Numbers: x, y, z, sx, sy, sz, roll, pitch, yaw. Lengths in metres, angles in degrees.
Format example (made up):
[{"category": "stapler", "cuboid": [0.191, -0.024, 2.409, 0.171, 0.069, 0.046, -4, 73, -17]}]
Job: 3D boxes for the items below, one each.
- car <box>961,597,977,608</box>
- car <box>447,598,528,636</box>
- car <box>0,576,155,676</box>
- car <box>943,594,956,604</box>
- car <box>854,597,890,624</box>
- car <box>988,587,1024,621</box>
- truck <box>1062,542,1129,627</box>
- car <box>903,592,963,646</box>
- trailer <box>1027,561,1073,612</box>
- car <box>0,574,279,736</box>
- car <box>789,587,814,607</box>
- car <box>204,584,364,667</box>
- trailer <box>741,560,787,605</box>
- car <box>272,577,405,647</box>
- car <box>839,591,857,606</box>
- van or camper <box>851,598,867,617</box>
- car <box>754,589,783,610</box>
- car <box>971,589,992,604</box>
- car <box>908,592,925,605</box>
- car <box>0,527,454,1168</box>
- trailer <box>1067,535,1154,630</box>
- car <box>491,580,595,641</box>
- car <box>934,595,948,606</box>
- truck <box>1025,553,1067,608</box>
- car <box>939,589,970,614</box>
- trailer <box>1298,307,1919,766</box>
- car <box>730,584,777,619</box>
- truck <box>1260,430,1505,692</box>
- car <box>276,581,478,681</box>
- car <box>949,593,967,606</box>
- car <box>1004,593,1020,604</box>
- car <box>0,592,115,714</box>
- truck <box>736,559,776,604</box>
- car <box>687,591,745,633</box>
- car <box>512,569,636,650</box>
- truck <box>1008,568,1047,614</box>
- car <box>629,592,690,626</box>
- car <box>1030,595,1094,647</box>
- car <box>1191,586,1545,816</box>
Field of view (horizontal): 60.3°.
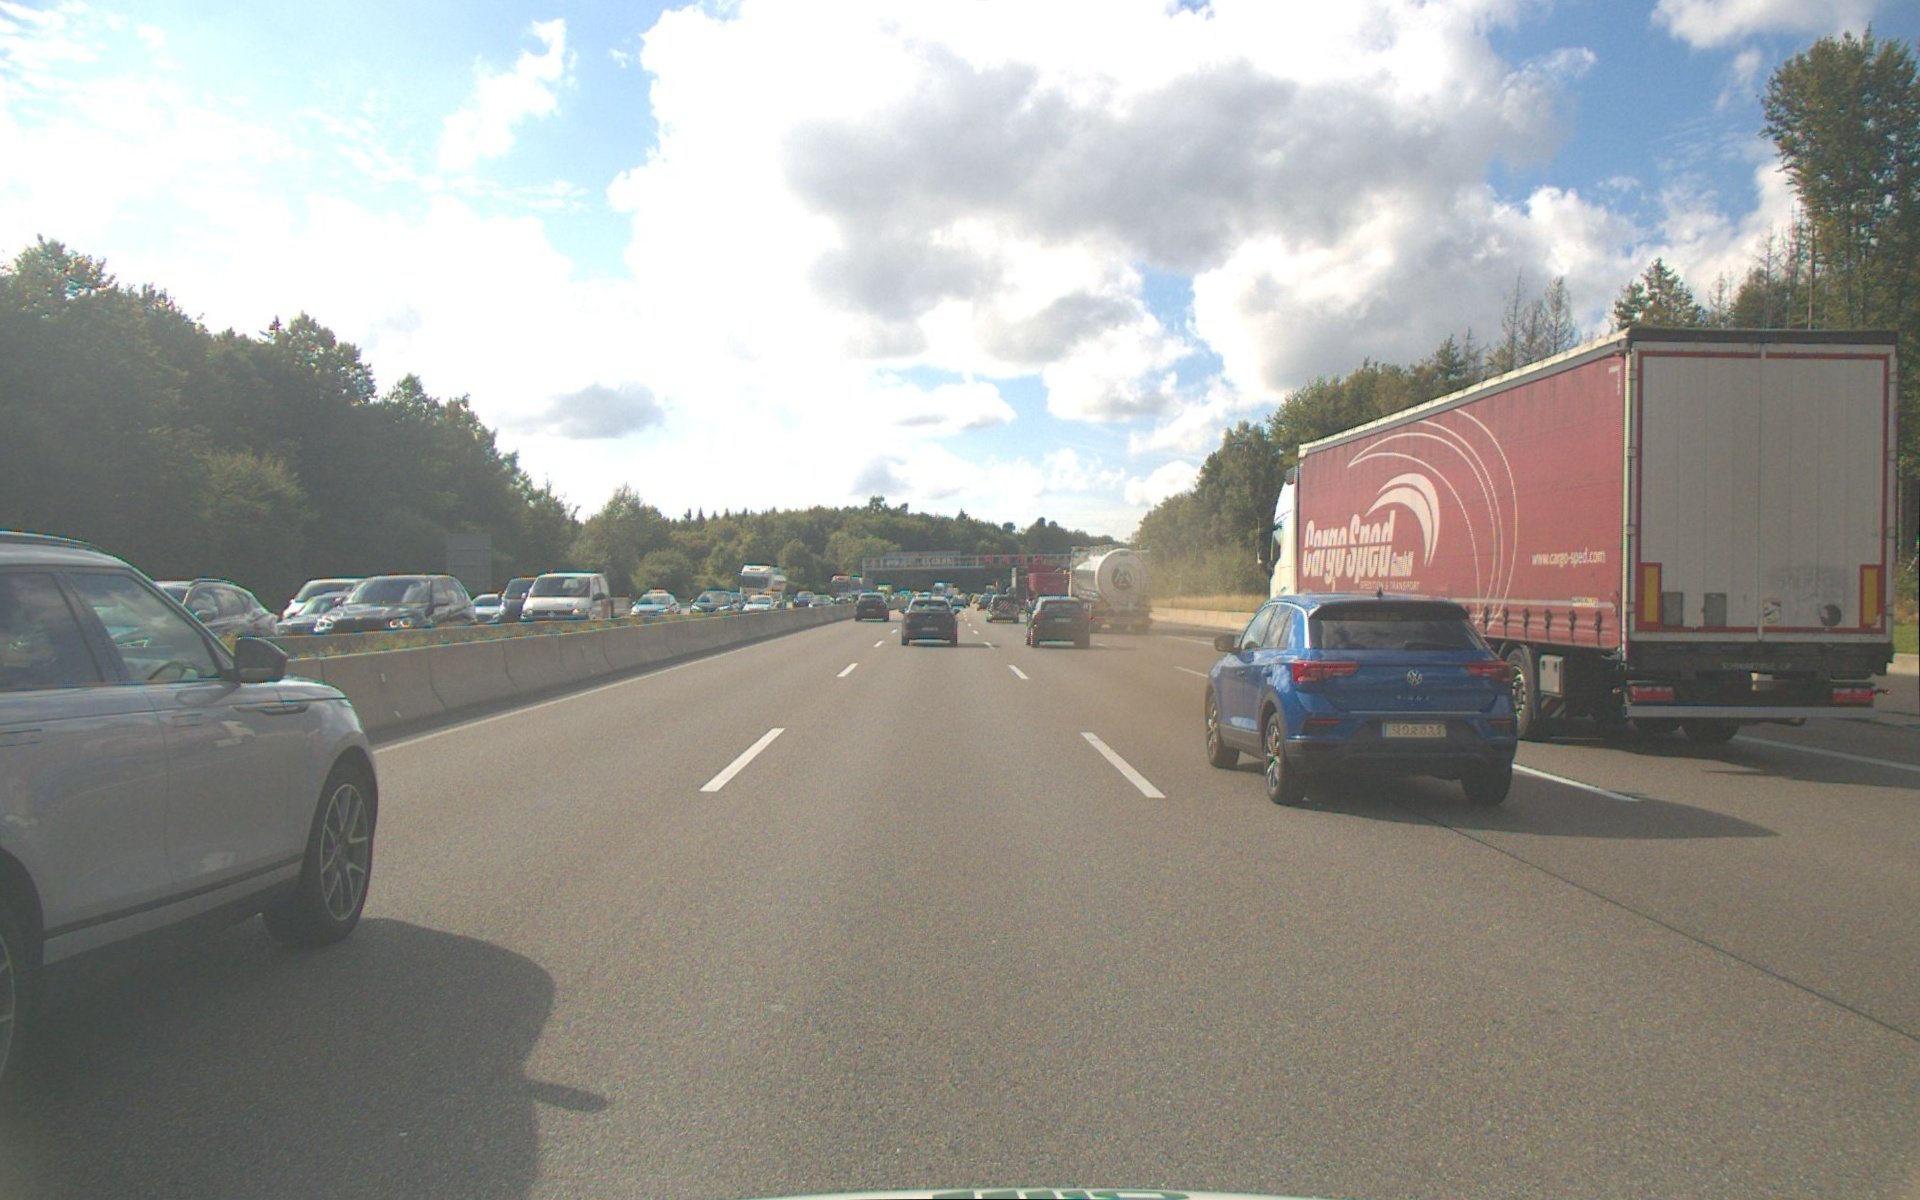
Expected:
[{"category": "car", "cuboid": [1.193, 0.348, 222.774, 2.035, 1.483, 3.999, -1, 0, -2]}, {"category": "car", "cuboid": [-17.984, 0.631, 63.141, 1.827, 1.325, 4.549, -1, 0, -1]}, {"category": "car", "cuboid": [-17.895, 0.475, 32.658, 1.809, 1.831, 4.549, -1, 0, -1]}, {"category": "car", "cuboid": [-1.610, -0.197, 255.853, 1.890, 1.483, 3.963, -1, 0, -2]}, {"category": "car", "cuboid": [-5.021, 0.597, 94.593, 1.903, 1.483, 3.999, -1, 0, -2]}, {"category": "car", "cuboid": [2.582, 0.226, 94.512, 1.855, 1.889, 4.099, 1, 0, -1]}, {"category": "truck", "cuboid": [6.421, -0.713, 78.986, 2.595, 3.890, 6.081, 0, 0, -1]}, {"category": "car", "cuboid": [-0.813, 0.555, 50.906, 1.785, 1.573, 3.999, 0, 0, -1]}, {"category": "trailer", "cuboid": [6.140, -0.989, 114.119, 2.654, 3.287, 9.733, 1, 1, 0]}, {"category": "car", "cuboid": [-9.813, 0.558, 19.203, 1.953, 1.646, 4.549, -1, 0, -1]}, {"category": "car", "cuboid": [-14.323, -0.311, 149.616, 1.817, 1.699, 5.210, -2, 1, 0]}, {"category": "car", "cuboid": [-14.526, 0.504, 35.797, 1.634, 1.646, 4.549, -1, 0, -1]}, {"category": "trailer", "cuboid": [-18.249, -1.615, 154.839, 2.730, 4.014, 12.253, 0, 0, 0]}, {"category": "car", "cuboid": [-18.036, 0.312, 48.291, 1.910, 1.884, 5.341, -1, 0, -1]}, {"category": "car", "cuboid": [-13.422, -0.163, 198.570, 1.953, 1.693, 4.686, -1, 0, -1]}, {"category": "van or camper", "cuboid": [-15.594, 1.163, 256.199, 2.326, 2.942, 6.503, -1, 0, -2]}, {"category": "car", "cuboid": [-14.964, -0.051, 129.437, 1.822, 1.648, 4.747, 0, 0, -1]}, {"category": "car", "cuboid": [2.150, -0.345, 167.848, 1.903, 1.483, 3.999, -1, 0, -2]}, {"category": "car", "cuboid": [-5.374, -0.208, 202.235, 2.035, 1.483, 3.999, -1, 0, -2]}, {"category": "car", "cuboid": [-3.452, 0.610, 5.479, 1.965, 1.644, 5.300, 1, 0, -1]}, {"category": "trailer", "cuboid": [6.517, -0.749, 73.165, 2.595, 3.833, 11.858, 0, 0, -1]}, {"category": "car", "cuboid": [-13.597, 0.308, 54.233, 2.127, 1.871, 5.259, -1, 0, -1]}, {"category": "car", "cuboid": [-2.724, 0.123, 233.097, 1.890, 1.483, 4.391, -1, 0, -2]}, {"category": "truck", "cuboid": [6.151, -1.422, 118.932, 2.654, 3.783, 5.817, 1, 1, 0]}, {"category": "car", "cuboid": [-0.310, 0.063, 102.236, 1.785, 1.483, 4.001, -1, 0, 1]}, {"category": "trailer", "cuboid": [7.320, -0.608, 21.778, 2.717, 4.116, 13.711, 0, 0, -1]}, {"category": "car", "cuboid": [-11.680, 0.063, 93.894, 2.127, 1.911, 4.980, -1, 0, -1]}, {"category": "truck", "cuboid": [7.199, -0.633, 29.009, 2.717, 4.116, 5.772, 0, 0, -1]}, {"category": "car", "cuboid": [-10.514, 0.513, 30.231, 2.127, 1.646, 4.549, -1, 0, -1]}, {"category": "car", "cuboid": [-0.293, -0.093, 199.066, 2.035, 1.483, 3.999, -1, 0, -2]}, {"category": "car", "cuboid": [7.258, -0.175, 230.798, 2.035, 1.483, 3.999, -1, 0, -2]}, {"category": "car", "cuboid": [-13.933, 0.722, 23.097, 1.953, 1.646, 4.549, -1, 0, -1]}, {"category": "truck", "cuboid": [-18.261, -1.642, 148.692, 2.730, 4.014, 6.445, 0, 0, 0]}, {"category": "car", "cuboid": [-10.297, 0.487, 70.047, 1.874, 1.669, 4.241, -1, 0, -1]}, {"category": "car", "cuboid": [-10.544, 0.220, 45.621, 2.115, 2.049, 5.821, -1, 0, -1]}, {"category": "truck", "cuboid": [6.113, -0.856, 151.117, 3.055, 4.003, 10.409, -1, 0, -1]}, {"category": "car", "cuboid": [-14.003, 0.396, 77.432, 1.953, 1.510, 5.131, -1, 0, -1]}, {"category": "car", "cuboid": [3.091, 0.622, 50.585, 1.784, 1.483, 4.001, -1, 0, 1]}, {"category": "car", "cuboid": [3.120, 0.681, 13.611, 1.737, 1.557, 4.457, -1, 0, -1]}]
